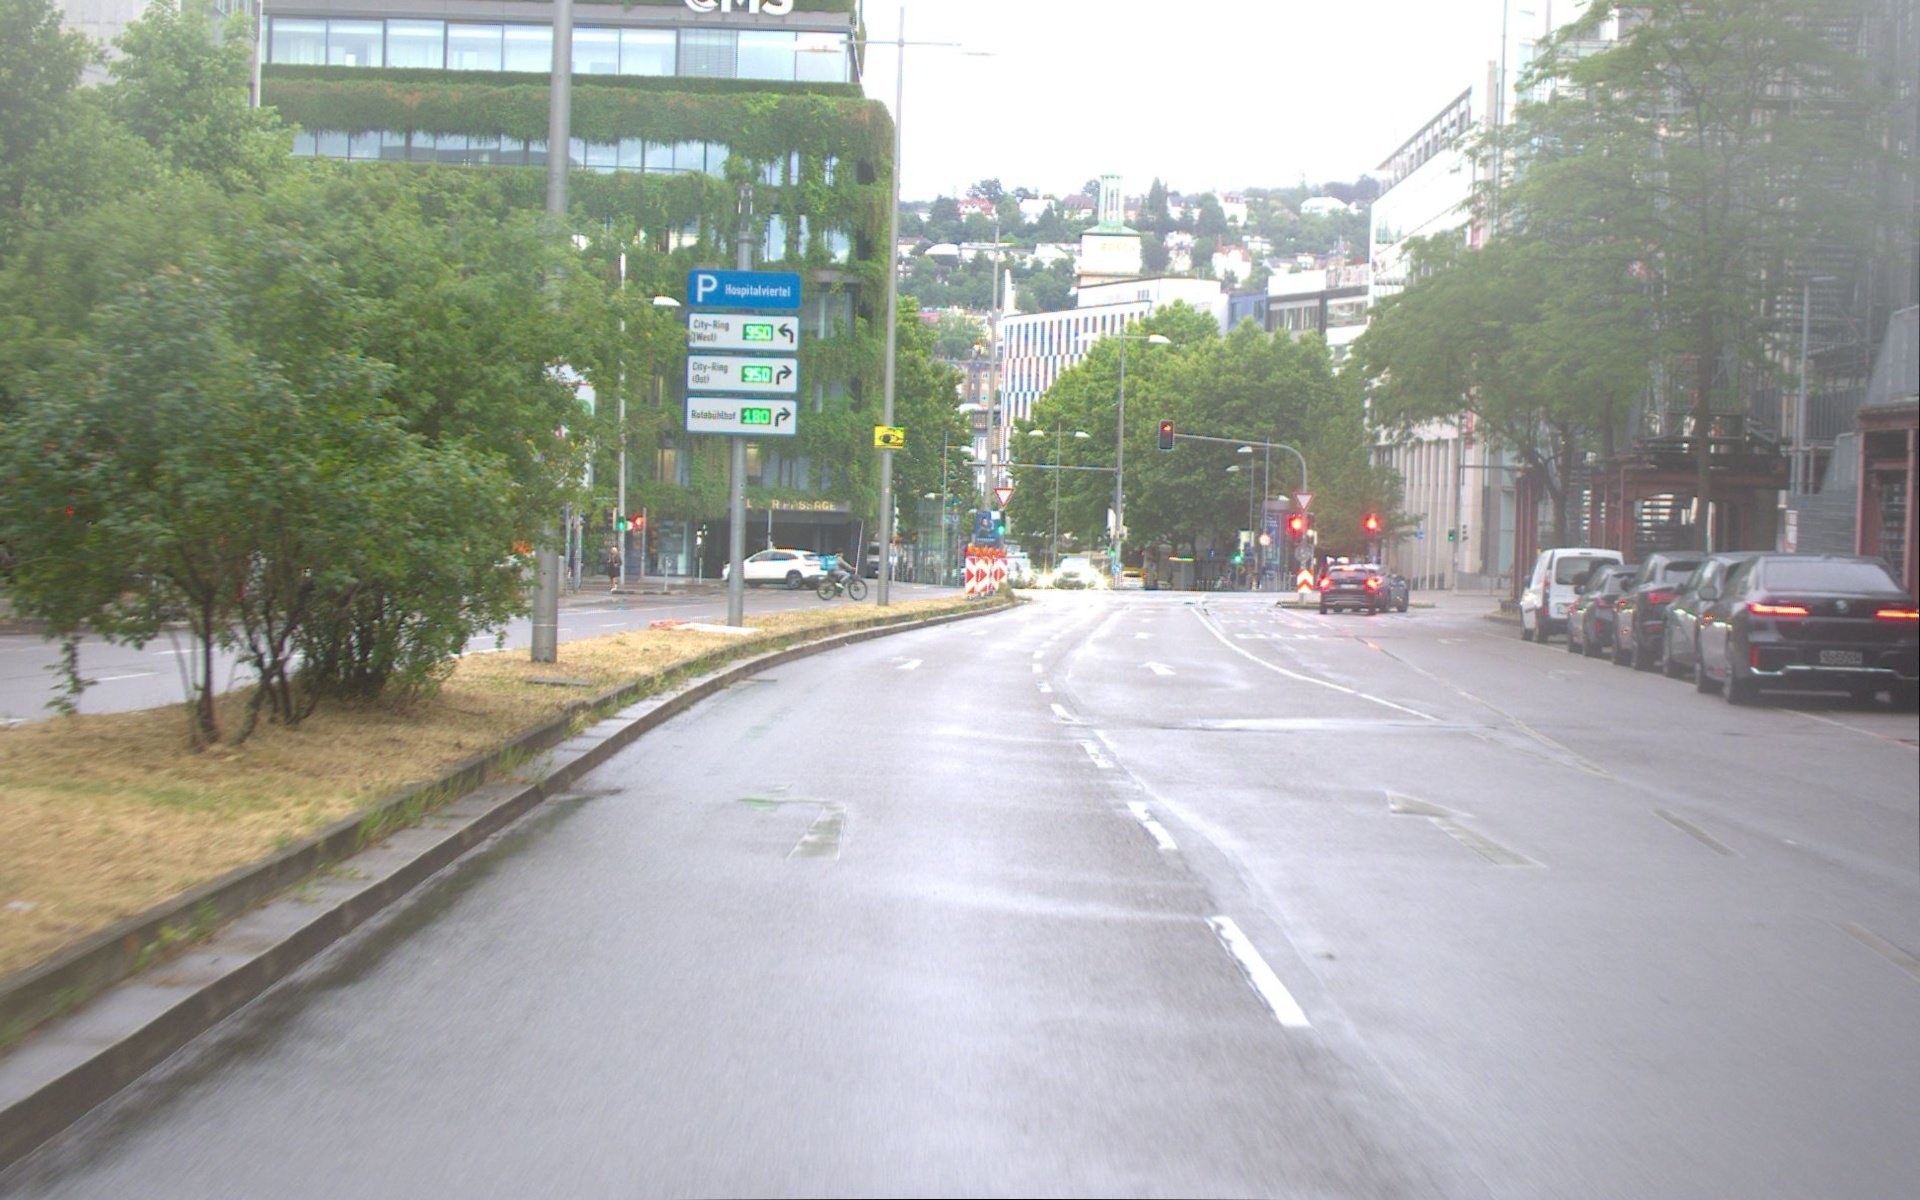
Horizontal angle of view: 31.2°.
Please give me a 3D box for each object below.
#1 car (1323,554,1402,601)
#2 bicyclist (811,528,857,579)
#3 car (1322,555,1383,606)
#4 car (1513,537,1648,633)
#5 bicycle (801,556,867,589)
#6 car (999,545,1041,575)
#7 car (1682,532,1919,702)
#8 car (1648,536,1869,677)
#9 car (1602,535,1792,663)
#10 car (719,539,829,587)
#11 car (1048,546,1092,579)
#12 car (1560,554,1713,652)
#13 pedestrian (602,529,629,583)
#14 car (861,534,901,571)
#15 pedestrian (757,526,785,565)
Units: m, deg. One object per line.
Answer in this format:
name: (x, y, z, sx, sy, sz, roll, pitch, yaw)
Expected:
car: (13.454, -0.756, 114.644, 1.705, 1.524, 4.422, 1, 1, 19)
bicyclist: (-4.307, -1.595, 117.781, 1.295, 1.698, 0.848, 0, 1, -38)
car: (12.245, -0.630, 107.430, 1.779, 1.534, 4.146, 1, 1, 6)
car: (11.837, -0.309, 65.873, 1.994, 1.744, 4.526, 1, 1, 4)
bicycle: (-4.305, -0.936, 117.767, 2.146, 1.099, 0.848, 0, 1, -39)
car: (3.066, -2.048, 175.701, 1.856, 1.443, 4.621, 1, 1, -3)
car: (8.754, 0.124, 35.622, 1.994, 1.595, 5.288, 1, 1, 7)
car: (9.692, 0.040, 42.045, 1.861, 1.595, 4.592, 1, 1, 3)
car: (10.093, -0.050, 47.405, 1.994, 1.640, 4.861, 1, 1, 6)
car: (-7.661, -1.513, 141.634, 3.992, 1.878, 1.997, 2, 1, 26)
car: (5.426, -1.841, 169.227, 1.994, 1.545, 4.555, 1, 1, 4)
car: (10.608, 0.010, 54.181, 1.869, 1.432, 4.920, 1, 1, 6)
pedestrian: (-12.356, -1.569, 123.373, 0.805, 1.879, 0.866, -3, 1, -3)
car: (-4.140, -2.503, 180.184, 1.993, 1.888, 4.465, 1, 1, -1)
pedestrian: (-8.633, -2.497, 157.167, 0.935, 1.752, 1.172, 1, 1, -20)
